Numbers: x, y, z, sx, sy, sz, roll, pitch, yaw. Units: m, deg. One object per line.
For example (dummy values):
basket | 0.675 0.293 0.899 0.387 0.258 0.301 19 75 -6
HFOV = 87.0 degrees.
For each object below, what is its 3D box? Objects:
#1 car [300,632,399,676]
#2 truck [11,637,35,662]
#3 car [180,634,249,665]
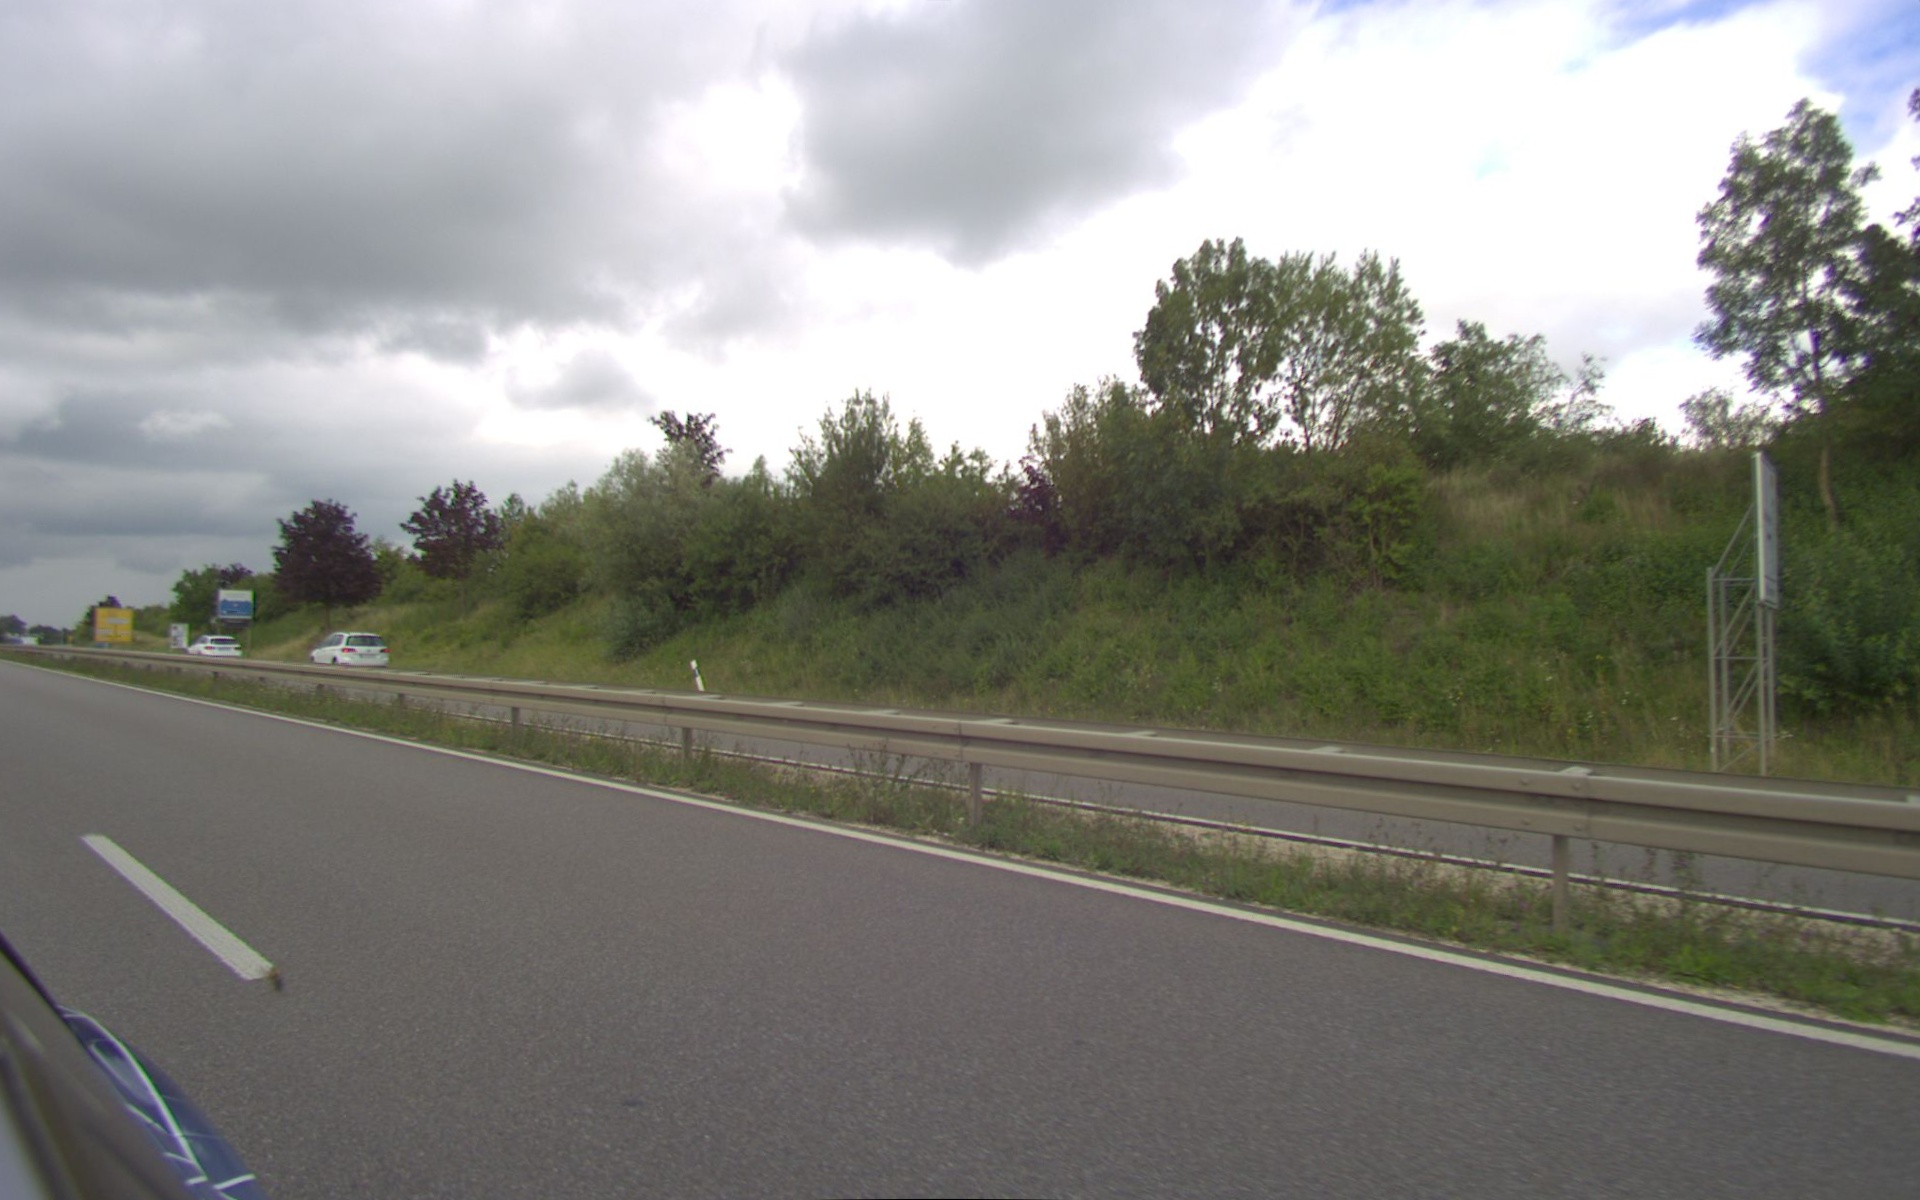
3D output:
car | -23.014 2.051 38.064 4.460 1.529 1.901 -4 -4 41
truck | -158.602 8.365 171.262 2.770 4.028 5.289 2 -5 -45
car | -39.304 2.616 53.306 4.986 1.529 1.972 -4 -4 42
